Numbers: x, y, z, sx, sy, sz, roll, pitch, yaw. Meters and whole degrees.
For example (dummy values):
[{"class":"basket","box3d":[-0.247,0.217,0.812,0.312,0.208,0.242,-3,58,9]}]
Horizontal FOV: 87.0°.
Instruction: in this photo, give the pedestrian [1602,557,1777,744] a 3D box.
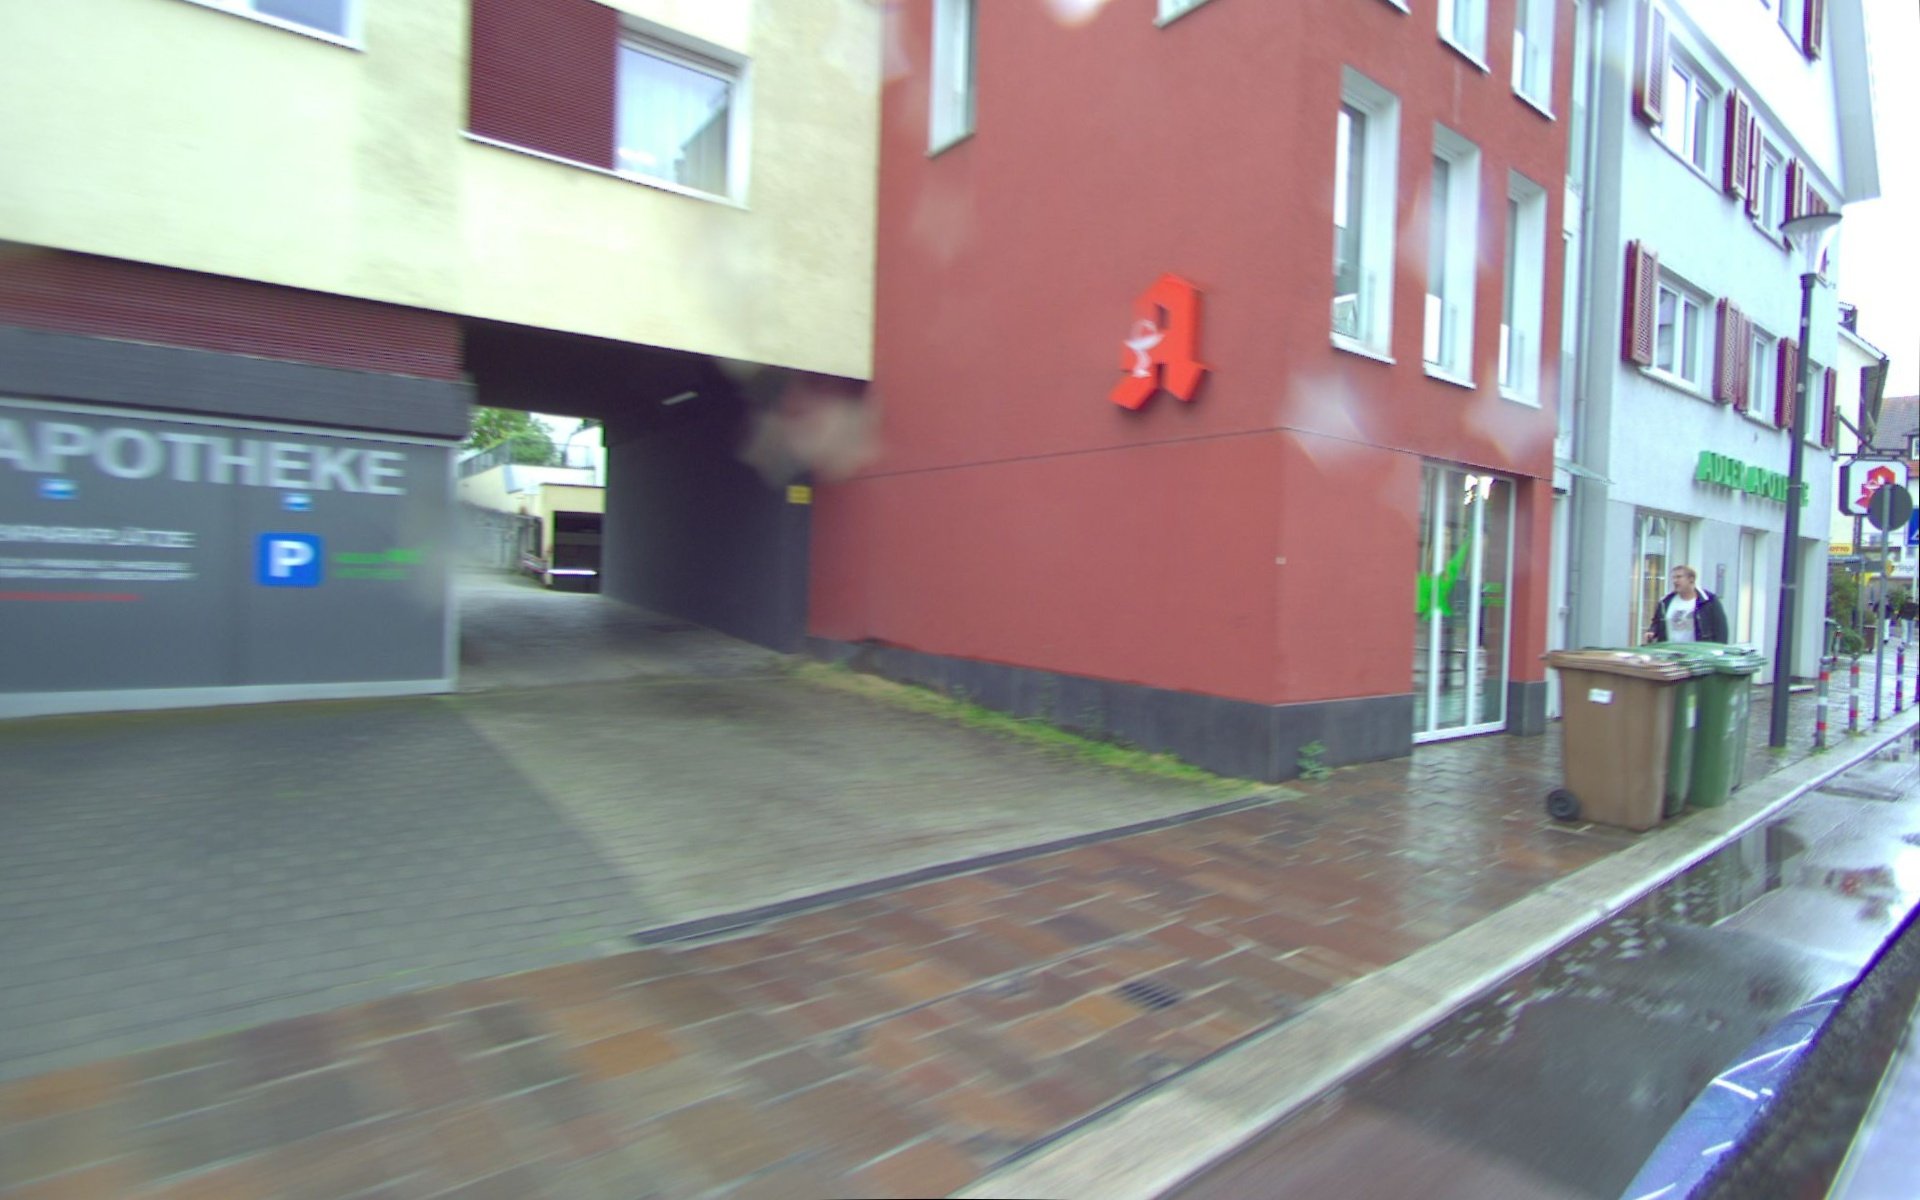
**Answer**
[{"class":"pedestrian","box3d":[7.433,0.454,10.316,1.158,1.718,1.179,0,3,-44]}]

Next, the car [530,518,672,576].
[{"class":"car","box3d":[-8.973,-1.322,25.369,3.075,1.371,1.399,-2,3,-38]}]

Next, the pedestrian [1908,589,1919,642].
[{"class":"pedestrian","box3d":[35.941,0.591,37.580,0.765,1.927,0.799,2,2,23]}]

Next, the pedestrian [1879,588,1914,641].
[{"class":"pedestrian","box3d":[35.288,0.538,38.145,0.648,1.925,0.654,4,3,23]}]

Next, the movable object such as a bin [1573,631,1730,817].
[{"class":"movable object such as a bin","box3d":[4.646,0.791,6.809,0.603,1.108,0.712,0,2,-39]}]

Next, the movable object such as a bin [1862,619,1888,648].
[{"class":"movable object such as a bin","box3d":[28.913,1.050,31.983,0.546,0.846,0.895,5,3,43]}]

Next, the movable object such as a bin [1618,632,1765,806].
[{"class":"movable object such as a bin","box3d":[5.194,0.804,7.189,0.685,1.097,0.678,0,2,-39]}]

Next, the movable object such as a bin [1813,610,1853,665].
[{"class":"movable object such as a bin","box3d":[18.315,0.777,21.231,0.539,1.069,0.501,-2,5,-41]}]

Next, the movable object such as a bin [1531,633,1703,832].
[{"class":"movable object such as a bin","box3d":[4.133,0.788,6.375,0.635,1.094,0.731,0,2,-39]}]

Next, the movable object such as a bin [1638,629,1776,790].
[{"class":"movable object such as a bin","box3d":[5.711,0.800,7.739,0.705,1.100,0.678,0,2,-39]}]
